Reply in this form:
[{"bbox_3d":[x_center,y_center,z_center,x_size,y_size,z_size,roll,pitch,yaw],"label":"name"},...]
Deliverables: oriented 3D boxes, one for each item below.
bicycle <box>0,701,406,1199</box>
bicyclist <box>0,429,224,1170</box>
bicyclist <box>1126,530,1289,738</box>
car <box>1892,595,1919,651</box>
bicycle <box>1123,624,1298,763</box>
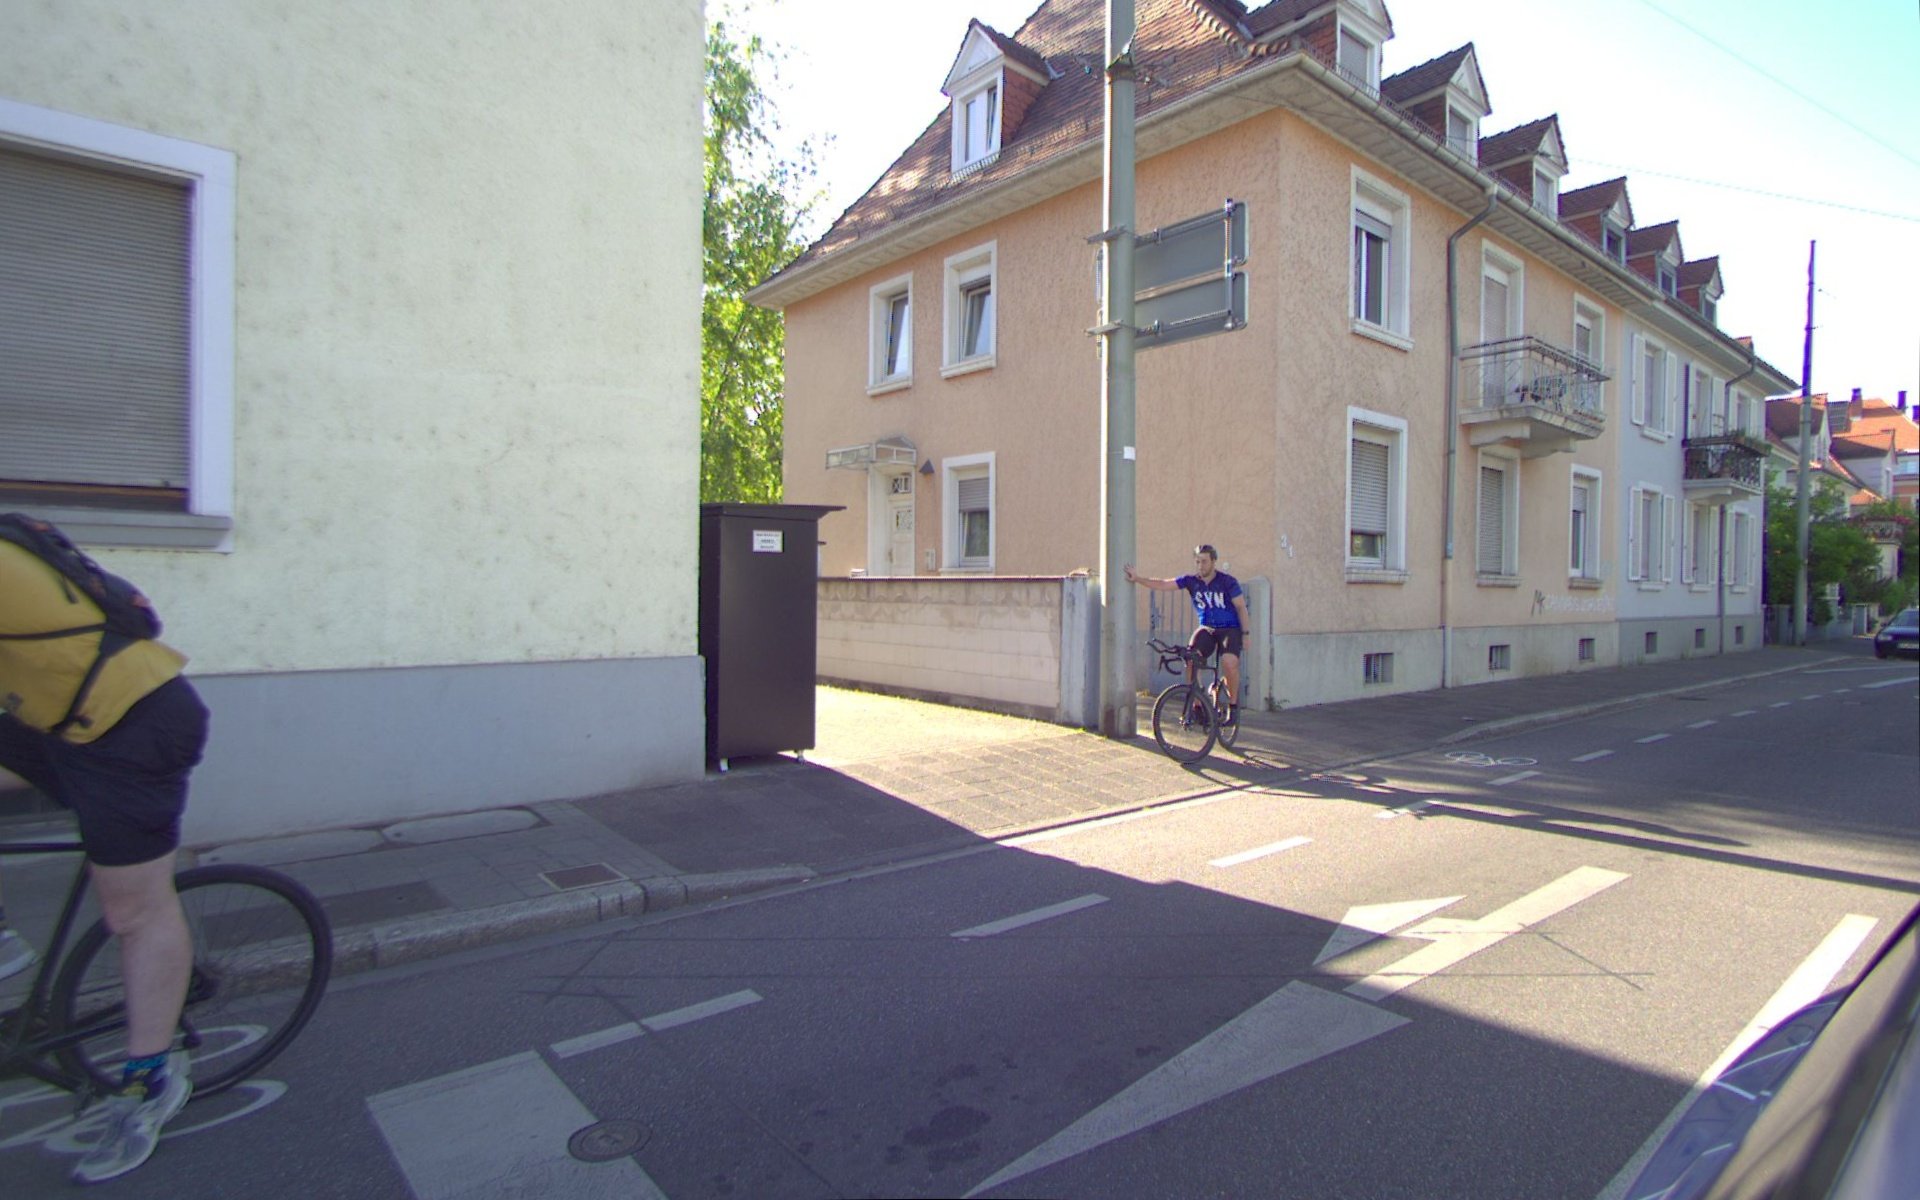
[{"bbox_3d":[-2.468,0.898,2.567,1.778,1.101,0.611,0,1,-41],"label":"bicycle"},{"bbox_3d":[-2.479,0.466,2.568,0.939,1.743,0.582,0,0,-41],"label":"bicyclist"},{"bbox_3d":[2.300,0.268,9.476,0.838,1.758,1.072,0,6,-40],"label":"bicyclist"},{"bbox_3d":[26.637,0.614,27.318,3.932,1.438,1.845,0,1,-42],"label":"car"},{"bbox_3d":[2.296,0.796,9.174,1.689,1.064,0.595,0,6,-41],"label":"bicycle"}]
